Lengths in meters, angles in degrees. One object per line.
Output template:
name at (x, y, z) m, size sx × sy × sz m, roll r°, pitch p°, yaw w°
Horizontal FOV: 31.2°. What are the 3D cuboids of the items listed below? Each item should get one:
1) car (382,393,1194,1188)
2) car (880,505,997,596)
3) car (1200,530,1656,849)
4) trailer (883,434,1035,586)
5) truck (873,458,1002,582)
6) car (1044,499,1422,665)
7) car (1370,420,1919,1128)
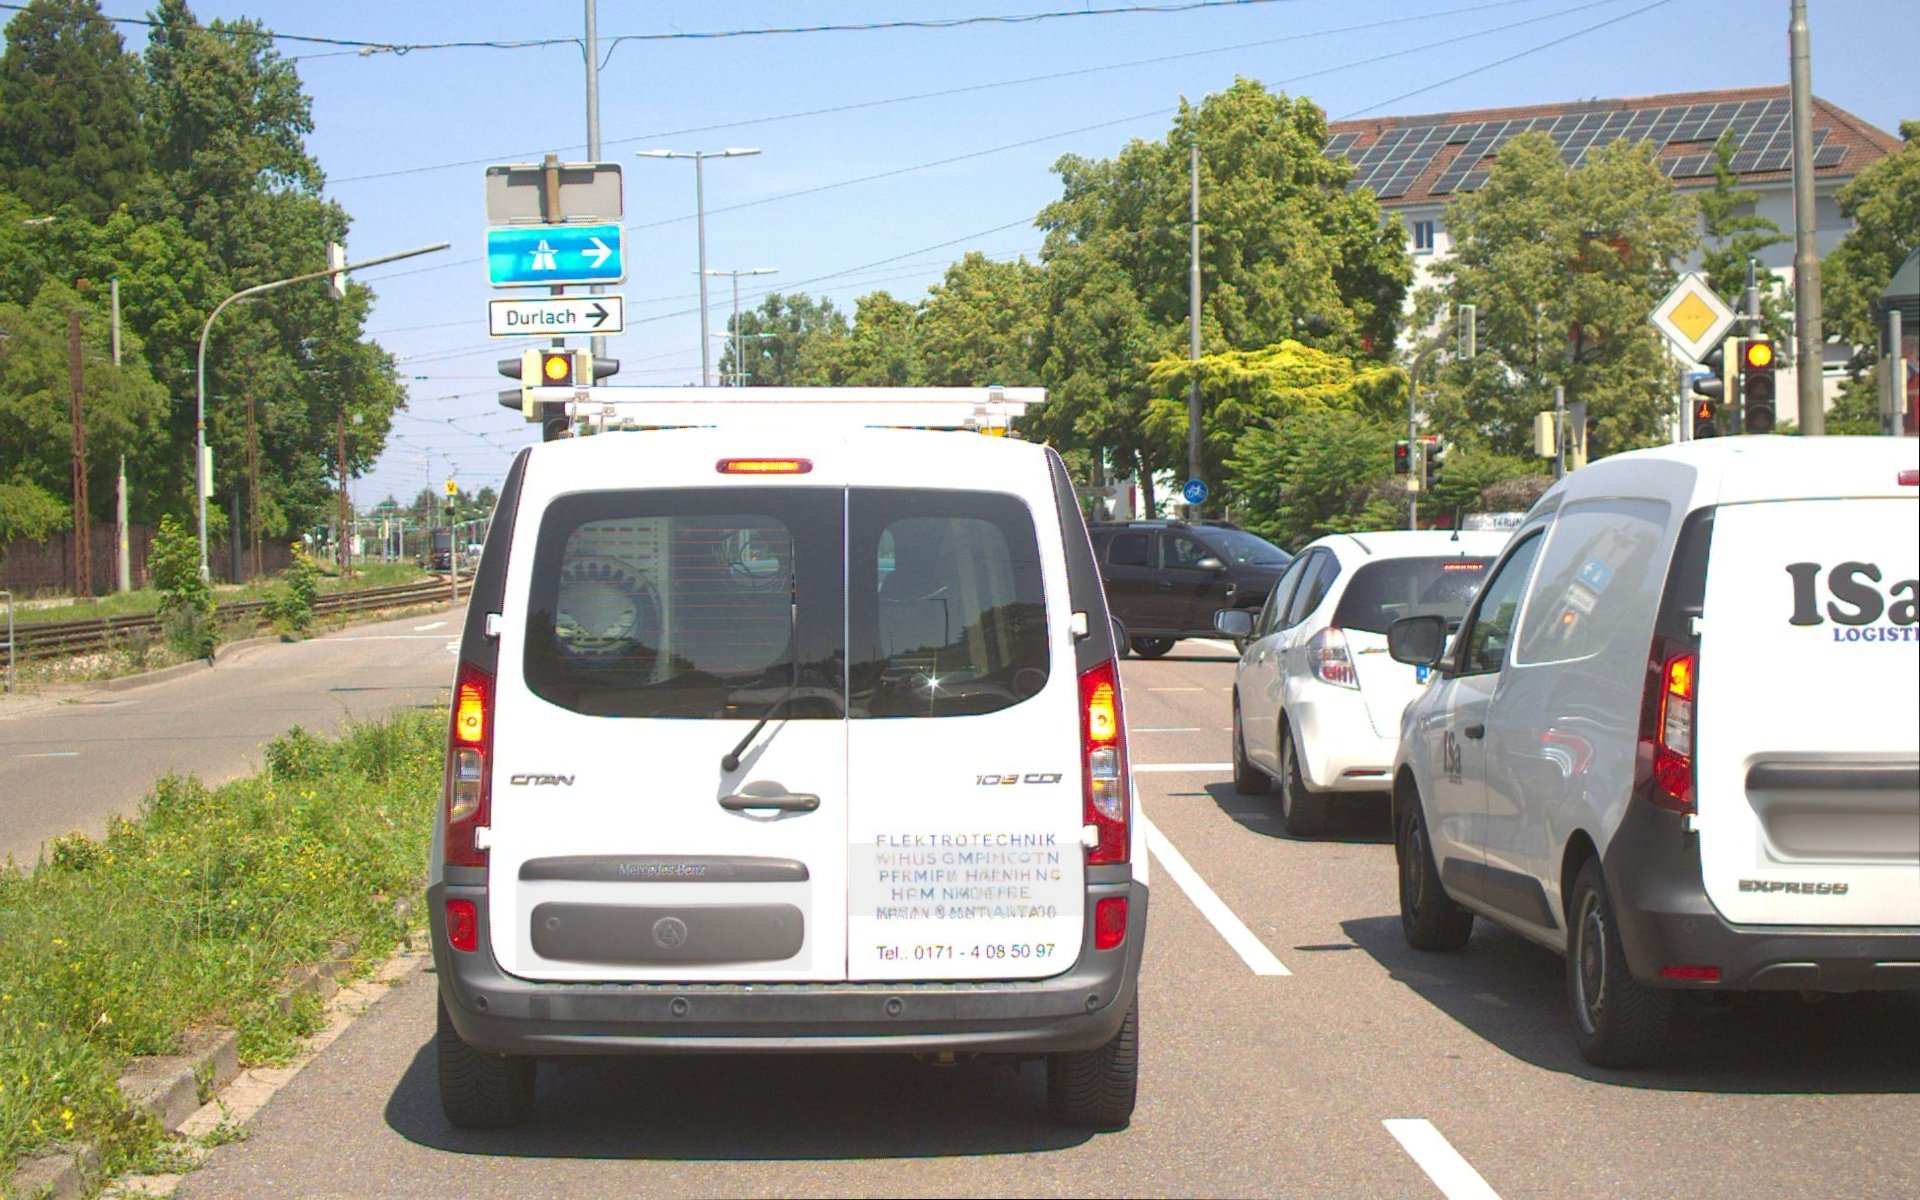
car at (-0.469, 0.402, 9.858) m, size 1.866 × 1.829 × 3.849 m, roll 0°, pitch 1°, yaw -2°
car at (-0.531, -1.144, 79.141) m, size 1.993 × 2.007 × 4.001 m, roll -1°, pitch 1°, yaw -11°
car at (2.358, 0.382, 18.289) m, size 1.756 × 1.481 × 4.000 m, roll -1°, pitch 1°, yaw -2°
trailer at (-0.117, -2.515, 97.068) m, size 3.527 × 4.037 × 8.979 m, roll -1°, pitch 1°, yaw -5°
truck at (-0.766, -2.454, 106.018) m, size 3.575 × 3.620 × 8.810 m, roll -1°, pitch 1°, yaw -3°
car at (3.196, -0.231, 40.543) m, size 3.996 × 1.853 × 1.996 m, roll 0°, pitch 1°, yaw 38°
car at (2.505, 0.405, 10.917) m, size 1.710 × 1.824 × 4.014 m, roll -1°, pitch 1°, yaw -3°
